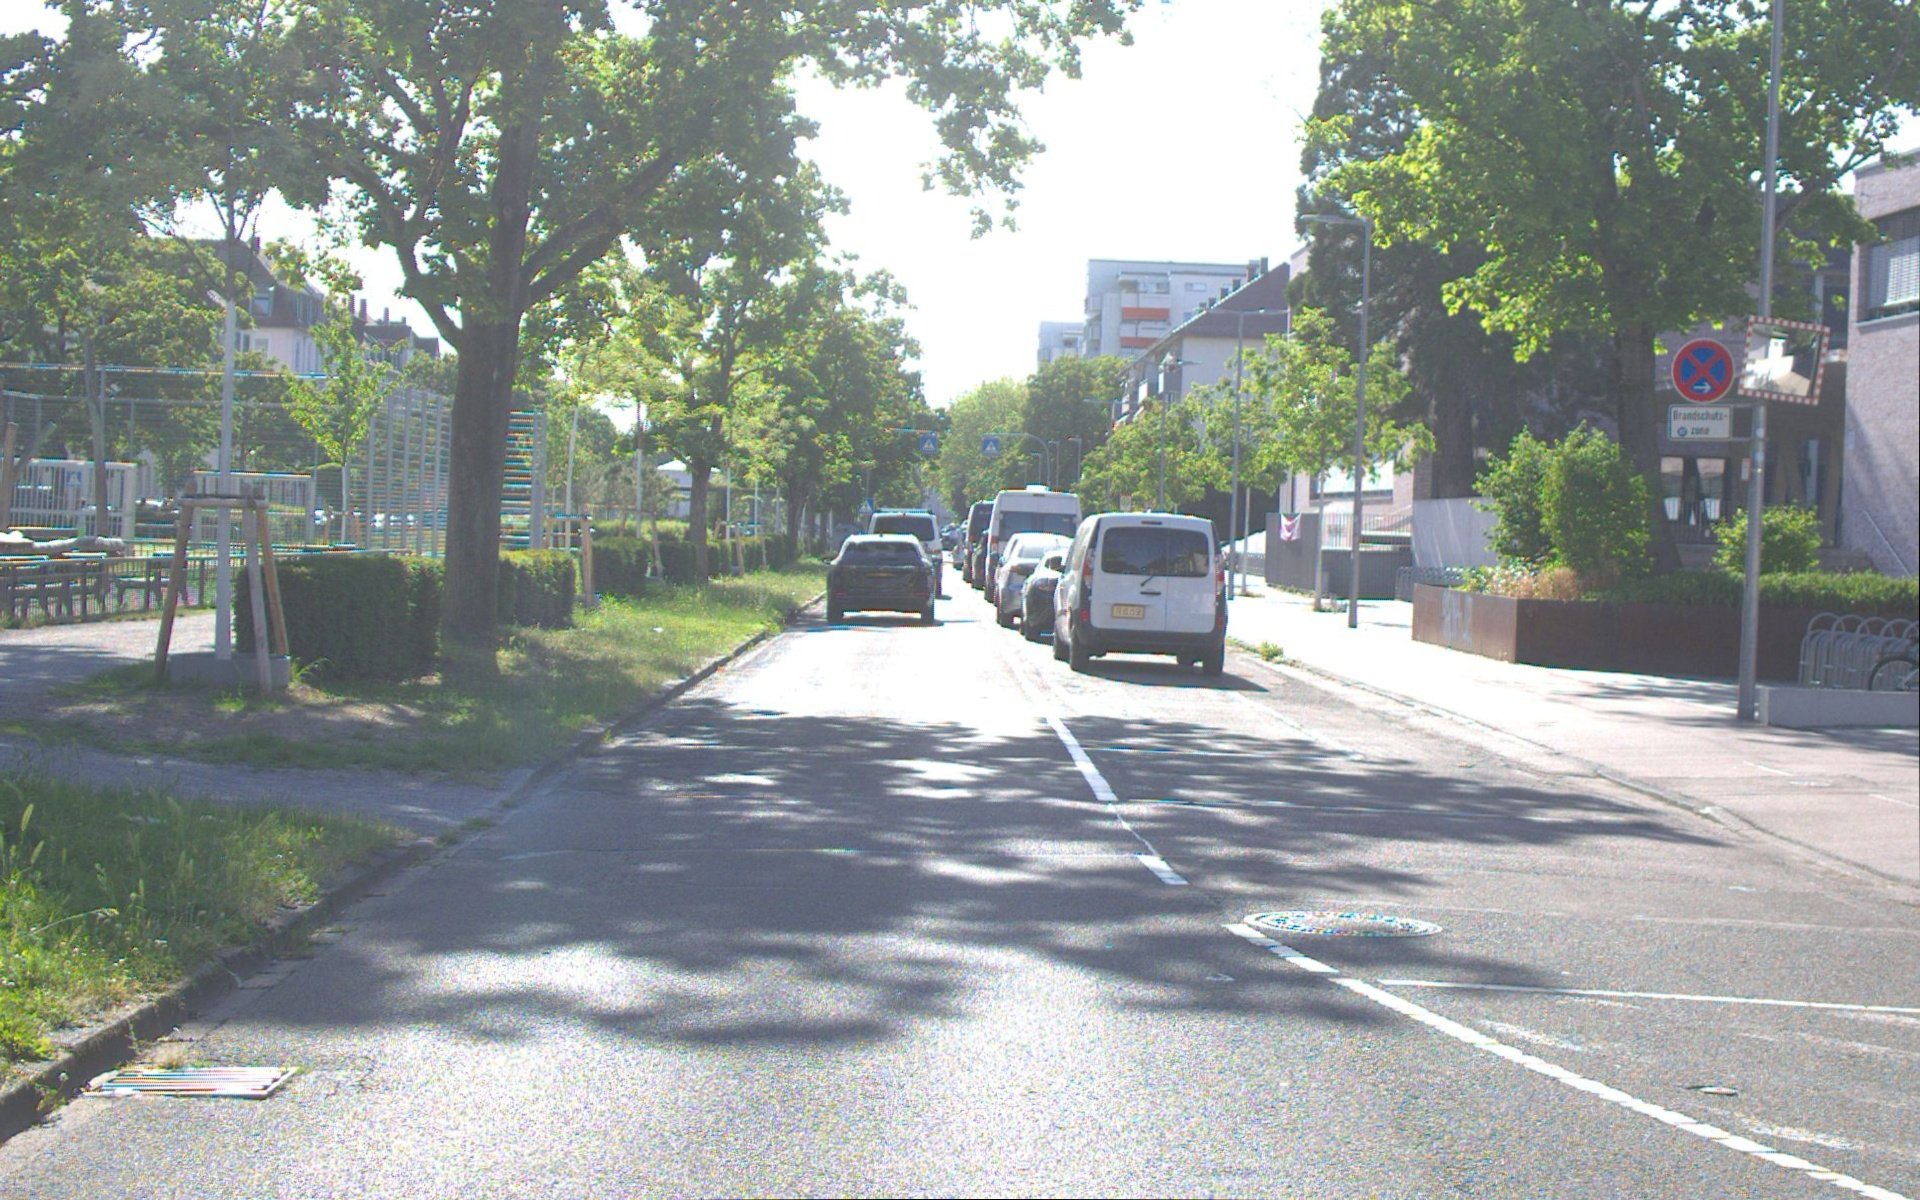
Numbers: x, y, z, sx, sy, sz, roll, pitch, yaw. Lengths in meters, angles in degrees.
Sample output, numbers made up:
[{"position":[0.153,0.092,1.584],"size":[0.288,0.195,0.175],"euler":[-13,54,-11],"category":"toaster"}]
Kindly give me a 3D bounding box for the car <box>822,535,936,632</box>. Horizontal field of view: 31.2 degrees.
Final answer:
[{"position":[-1.341,-0.307,58.103],"size":[1.794,1.505,4.000],"euler":[2,1,0],"category":"car"}]

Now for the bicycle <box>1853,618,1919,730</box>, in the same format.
[{"position":[9.559,0.746,33.220],"size":[1.668,1.026,0.500],"euler":[3,1,-3],"category":"bicycle"}]

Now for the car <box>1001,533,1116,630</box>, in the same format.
[{"position":[1.593,-0.341,57.092],"size":[1.701,1.473,4.174],"euler":[2,1,0],"category":"car"}]

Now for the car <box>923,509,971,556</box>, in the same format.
[{"position":[-0.515,-2.763,140.633],"size":[1.794,1.848,4.413],"euler":[2,1,2],"category":"car"}]

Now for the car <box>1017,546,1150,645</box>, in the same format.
[{"position":[1.792,-0.094,50.845],"size":[1.701,1.320,4.130],"euler":[2,1,-1],"category":"car"}]

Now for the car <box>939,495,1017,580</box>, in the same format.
[{"position":[0.534,-1.944,107.161],"size":[2.115,2.507,6.533],"euler":[2,1,-2],"category":"car"}]

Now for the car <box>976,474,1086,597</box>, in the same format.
[{"position":[1.559,-1.458,77.448],"size":[2.241,2.565,5.433],"euler":[2,1,0],"category":"car"}]

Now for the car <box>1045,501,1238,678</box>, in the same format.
[{"position":[2.082,-0.169,40.690],"size":[1.808,1.902,4.462],"euler":[2,1,-2],"category":"car"}]

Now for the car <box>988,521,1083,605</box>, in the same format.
[{"position":[1.510,-0.776,69.987],"size":[1.619,1.583,3.592],"euler":[2,1,-3],"category":"car"}]

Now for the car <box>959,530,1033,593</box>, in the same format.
[{"position":[0.967,-1.077,94.833],"size":[1.846,1.634,4.504],"euler":[2,1,-1],"category":"car"}]

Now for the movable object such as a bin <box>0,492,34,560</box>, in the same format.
[{"position":[-18.253,-1.373,62.943],"size":[2.330,1.237,1.056],"euler":[1,1,-4],"category":"movable object such as a bin"}]

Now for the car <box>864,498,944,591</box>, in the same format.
[{"position":[-1.307,-1.350,82.348],"size":[1.794,2.115,4.000],"euler":[2,1,0],"category":"car"}]
